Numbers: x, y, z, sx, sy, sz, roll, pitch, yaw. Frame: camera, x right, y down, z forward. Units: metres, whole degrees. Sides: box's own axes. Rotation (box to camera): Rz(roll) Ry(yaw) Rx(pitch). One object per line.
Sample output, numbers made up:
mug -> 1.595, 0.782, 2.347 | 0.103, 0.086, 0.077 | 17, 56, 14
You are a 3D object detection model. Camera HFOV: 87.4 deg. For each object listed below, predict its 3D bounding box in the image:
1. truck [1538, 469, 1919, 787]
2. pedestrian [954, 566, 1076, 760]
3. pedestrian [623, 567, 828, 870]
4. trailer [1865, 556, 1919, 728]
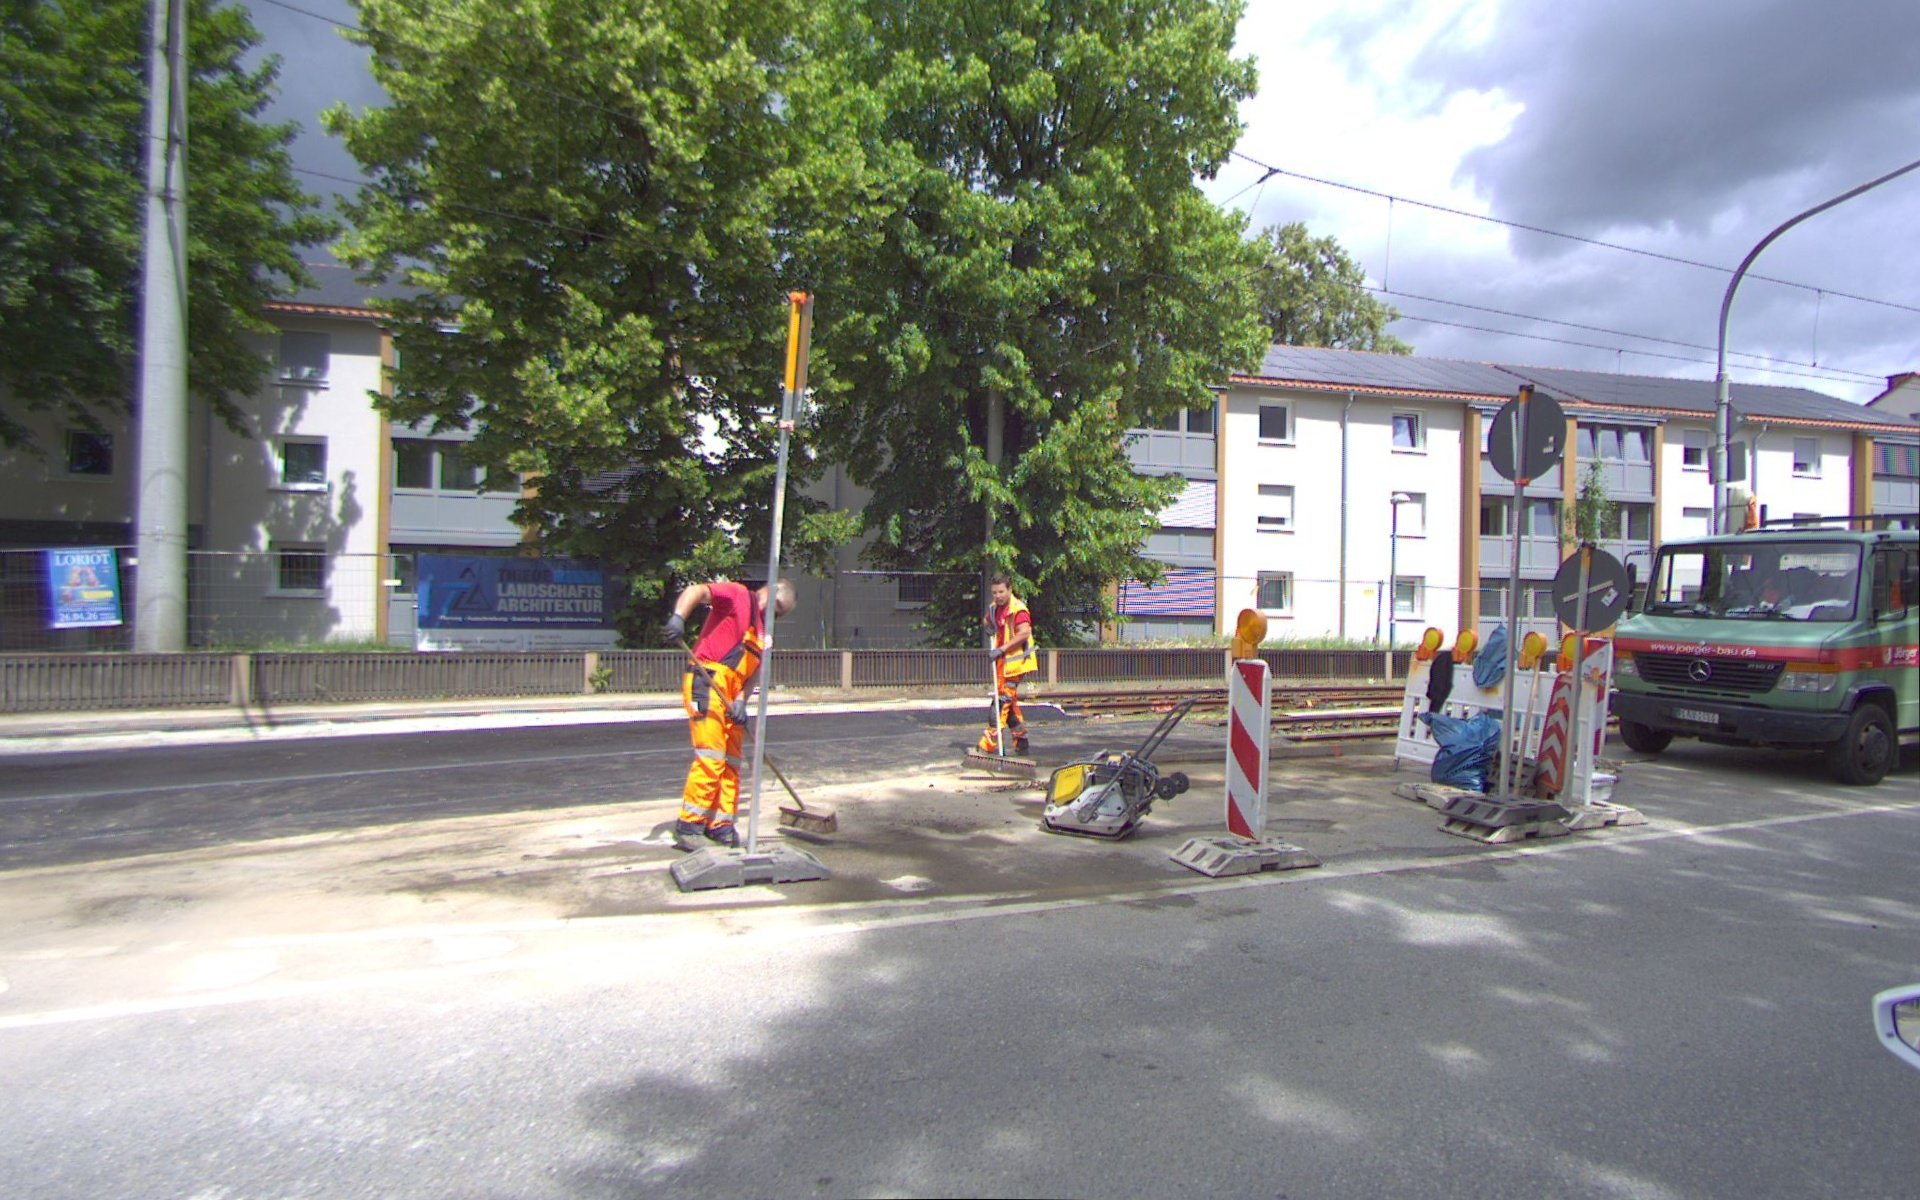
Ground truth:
truck -> 9.864, 0.282, 11.143 | 6.303, 2.762, 2.657 | 1, 0, -22
pedestrian -> 0.515, 0.569, 9.324 | 0.823, 1.690, 0.698 | 4, -2, -44
pedestrian -> -1.324, 0.616, 5.783 | 0.750, 1.572, 0.900 | 1, 1, 22
trailer -> 15.597, 0.605, 13.516 | 6.157, 2.243, 2.657 | 1, 0, -22
